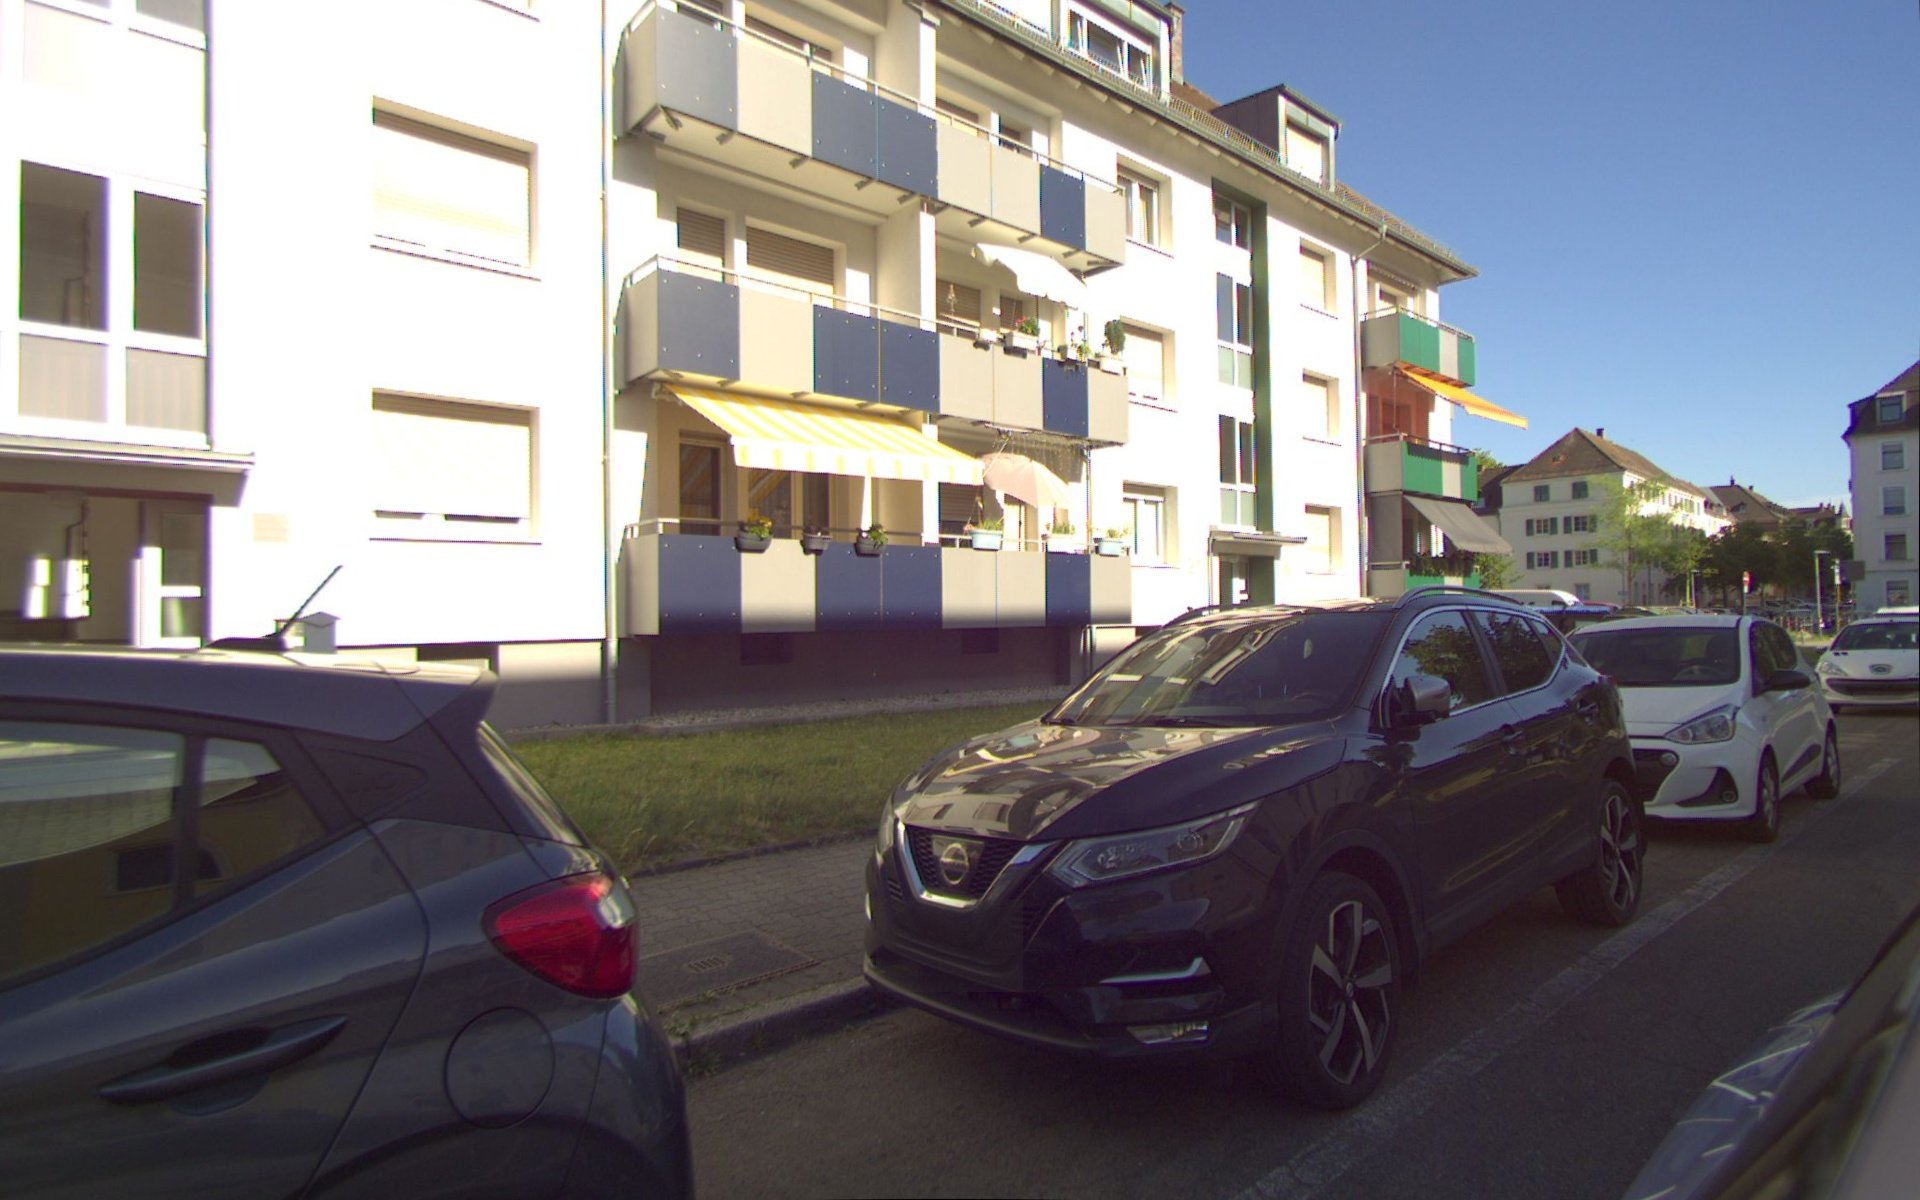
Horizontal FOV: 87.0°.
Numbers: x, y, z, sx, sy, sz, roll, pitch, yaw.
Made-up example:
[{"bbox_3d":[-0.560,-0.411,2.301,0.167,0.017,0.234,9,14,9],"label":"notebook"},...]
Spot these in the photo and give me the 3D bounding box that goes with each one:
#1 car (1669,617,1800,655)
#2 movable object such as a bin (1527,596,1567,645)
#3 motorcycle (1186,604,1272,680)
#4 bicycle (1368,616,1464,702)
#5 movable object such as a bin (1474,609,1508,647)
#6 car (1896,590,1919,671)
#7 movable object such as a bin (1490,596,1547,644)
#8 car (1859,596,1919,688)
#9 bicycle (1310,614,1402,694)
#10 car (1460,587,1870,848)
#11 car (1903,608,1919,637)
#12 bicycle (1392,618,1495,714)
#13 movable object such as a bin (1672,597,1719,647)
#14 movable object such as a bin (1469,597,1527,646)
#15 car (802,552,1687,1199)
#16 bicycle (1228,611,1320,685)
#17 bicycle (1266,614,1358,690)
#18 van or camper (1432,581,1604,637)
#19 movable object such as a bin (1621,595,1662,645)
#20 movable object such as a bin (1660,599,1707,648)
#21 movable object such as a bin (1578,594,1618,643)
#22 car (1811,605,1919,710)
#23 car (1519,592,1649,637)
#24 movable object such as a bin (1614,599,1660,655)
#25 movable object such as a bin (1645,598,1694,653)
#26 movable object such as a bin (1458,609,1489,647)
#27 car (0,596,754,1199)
[{"bbox_3d":[31.800,1.446,41.618,1.769,1.366,3.996,0,0,-39],"label":"car"},{"bbox_3d":[18.699,0.628,32.258,0.906,1.539,0.865,0,0,-42],"label":"movable object such as a bin"},{"bbox_3d":[4.687,0.701,17.576,1.942,1.254,0.442,0,0,-41],"label":"motorcycle"},{"bbox_3d":[6.696,0.833,14.819,1.840,1.146,0.578,0,1,-42],"label":"bicycle"},{"bbox_3d":[15.770,0.828,30.076,0.570,1.066,0.717,0,2,-43],"label":"movable object such as a bin"},{"bbox_3d":[23.643,0.647,23.823,4.180,1.824,1.852,0,-4,-42],"label":"car"},{"bbox_3d":[17.565,0.606,31.842,1.257,1.466,1.237,0,0,-43],"label":"movable object such as a bin"},{"bbox_3d":[18.619,0.720,19.186,4.503,1.613,1.802,0,-2,-42],"label":"car"},{"bbox_3d":[6.106,0.800,15.570,1.840,1.134,0.544,0,0,-42],"label":"bicycle"},{"bbox_3d":[5.604,0.737,7.873,3.787,1.529,1.715,0,-4,-42],"label":"car"},{"bbox_3d":[48.884,1.135,50.457,1.656,1.459,3.767,0,0,26],"label":"car"},{"bbox_3d":[6.603,0.859,13.790,1.839,1.185,0.545,0,1,-40],"label":"bicycle"},{"bbox_3d":[21.145,0.613,29.097,0.852,1.416,0.920,0,-1,-42],"label":"movable object such as a bin"},{"bbox_3d":[16.475,0.643,30.986,1.257,1.466,1.237,0,0,-43],"label":"movable object such as a bin"},{"bbox_3d":[1.584,0.680,4.431,4.278,1.598,1.726,0,0,-42],"label":"car"},{"bbox_3d":[5.198,0.761,16.695,1.840,1.130,0.597,0,0,-42],"label":"bicycle"},{"bbox_3d":[5.624,0.794,16.101,1.840,1.096,0.539,0,2,-42],"label":"bicycle"},{"bbox_3d":[26.658,0.398,48.634,2.137,2.532,6.979,0,0,-39],"label":"van or camper"},{"bbox_3d":[20.396,0.585,30.289,0.907,1.466,0.864,0,0,-45],"label":"movable object such as a bin"},{"bbox_3d":[20.237,0.642,28.304,0.852,1.342,0.920,0,-1,-42],"label":"movable object such as a bin"},{"bbox_3d":[19.569,0.542,31.040,0.907,1.466,0.864,0,0,-45],"label":"movable object such as a bin"},{"bbox_3d":[14.556,0.810,15.521,4.027,1.437,1.692,0,-3,-42],"label":"car"},{"bbox_3d":[30.240,0.696,49.172,1.963,2.039,4.992,0,-1,-38],"label":"car"},{"bbox_3d":[18.000,0.701,26.912,0.907,1.466,0.864,0,0,-45],"label":"movable object such as a bin"},{"bbox_3d":[19.294,0.687,27.527,0.852,1.466,0.920,0,-1,-42],"label":"movable object such as a bin"},{"bbox_3d":[15.100,0.830,29.781,0.570,1.066,0.628,0,2,-43],"label":"movable object such as a bin"},{"bbox_3d":[-2.409,0.775,1.084,3.987,1.468,1.650,0,-3,-38],"label":"car"}]
